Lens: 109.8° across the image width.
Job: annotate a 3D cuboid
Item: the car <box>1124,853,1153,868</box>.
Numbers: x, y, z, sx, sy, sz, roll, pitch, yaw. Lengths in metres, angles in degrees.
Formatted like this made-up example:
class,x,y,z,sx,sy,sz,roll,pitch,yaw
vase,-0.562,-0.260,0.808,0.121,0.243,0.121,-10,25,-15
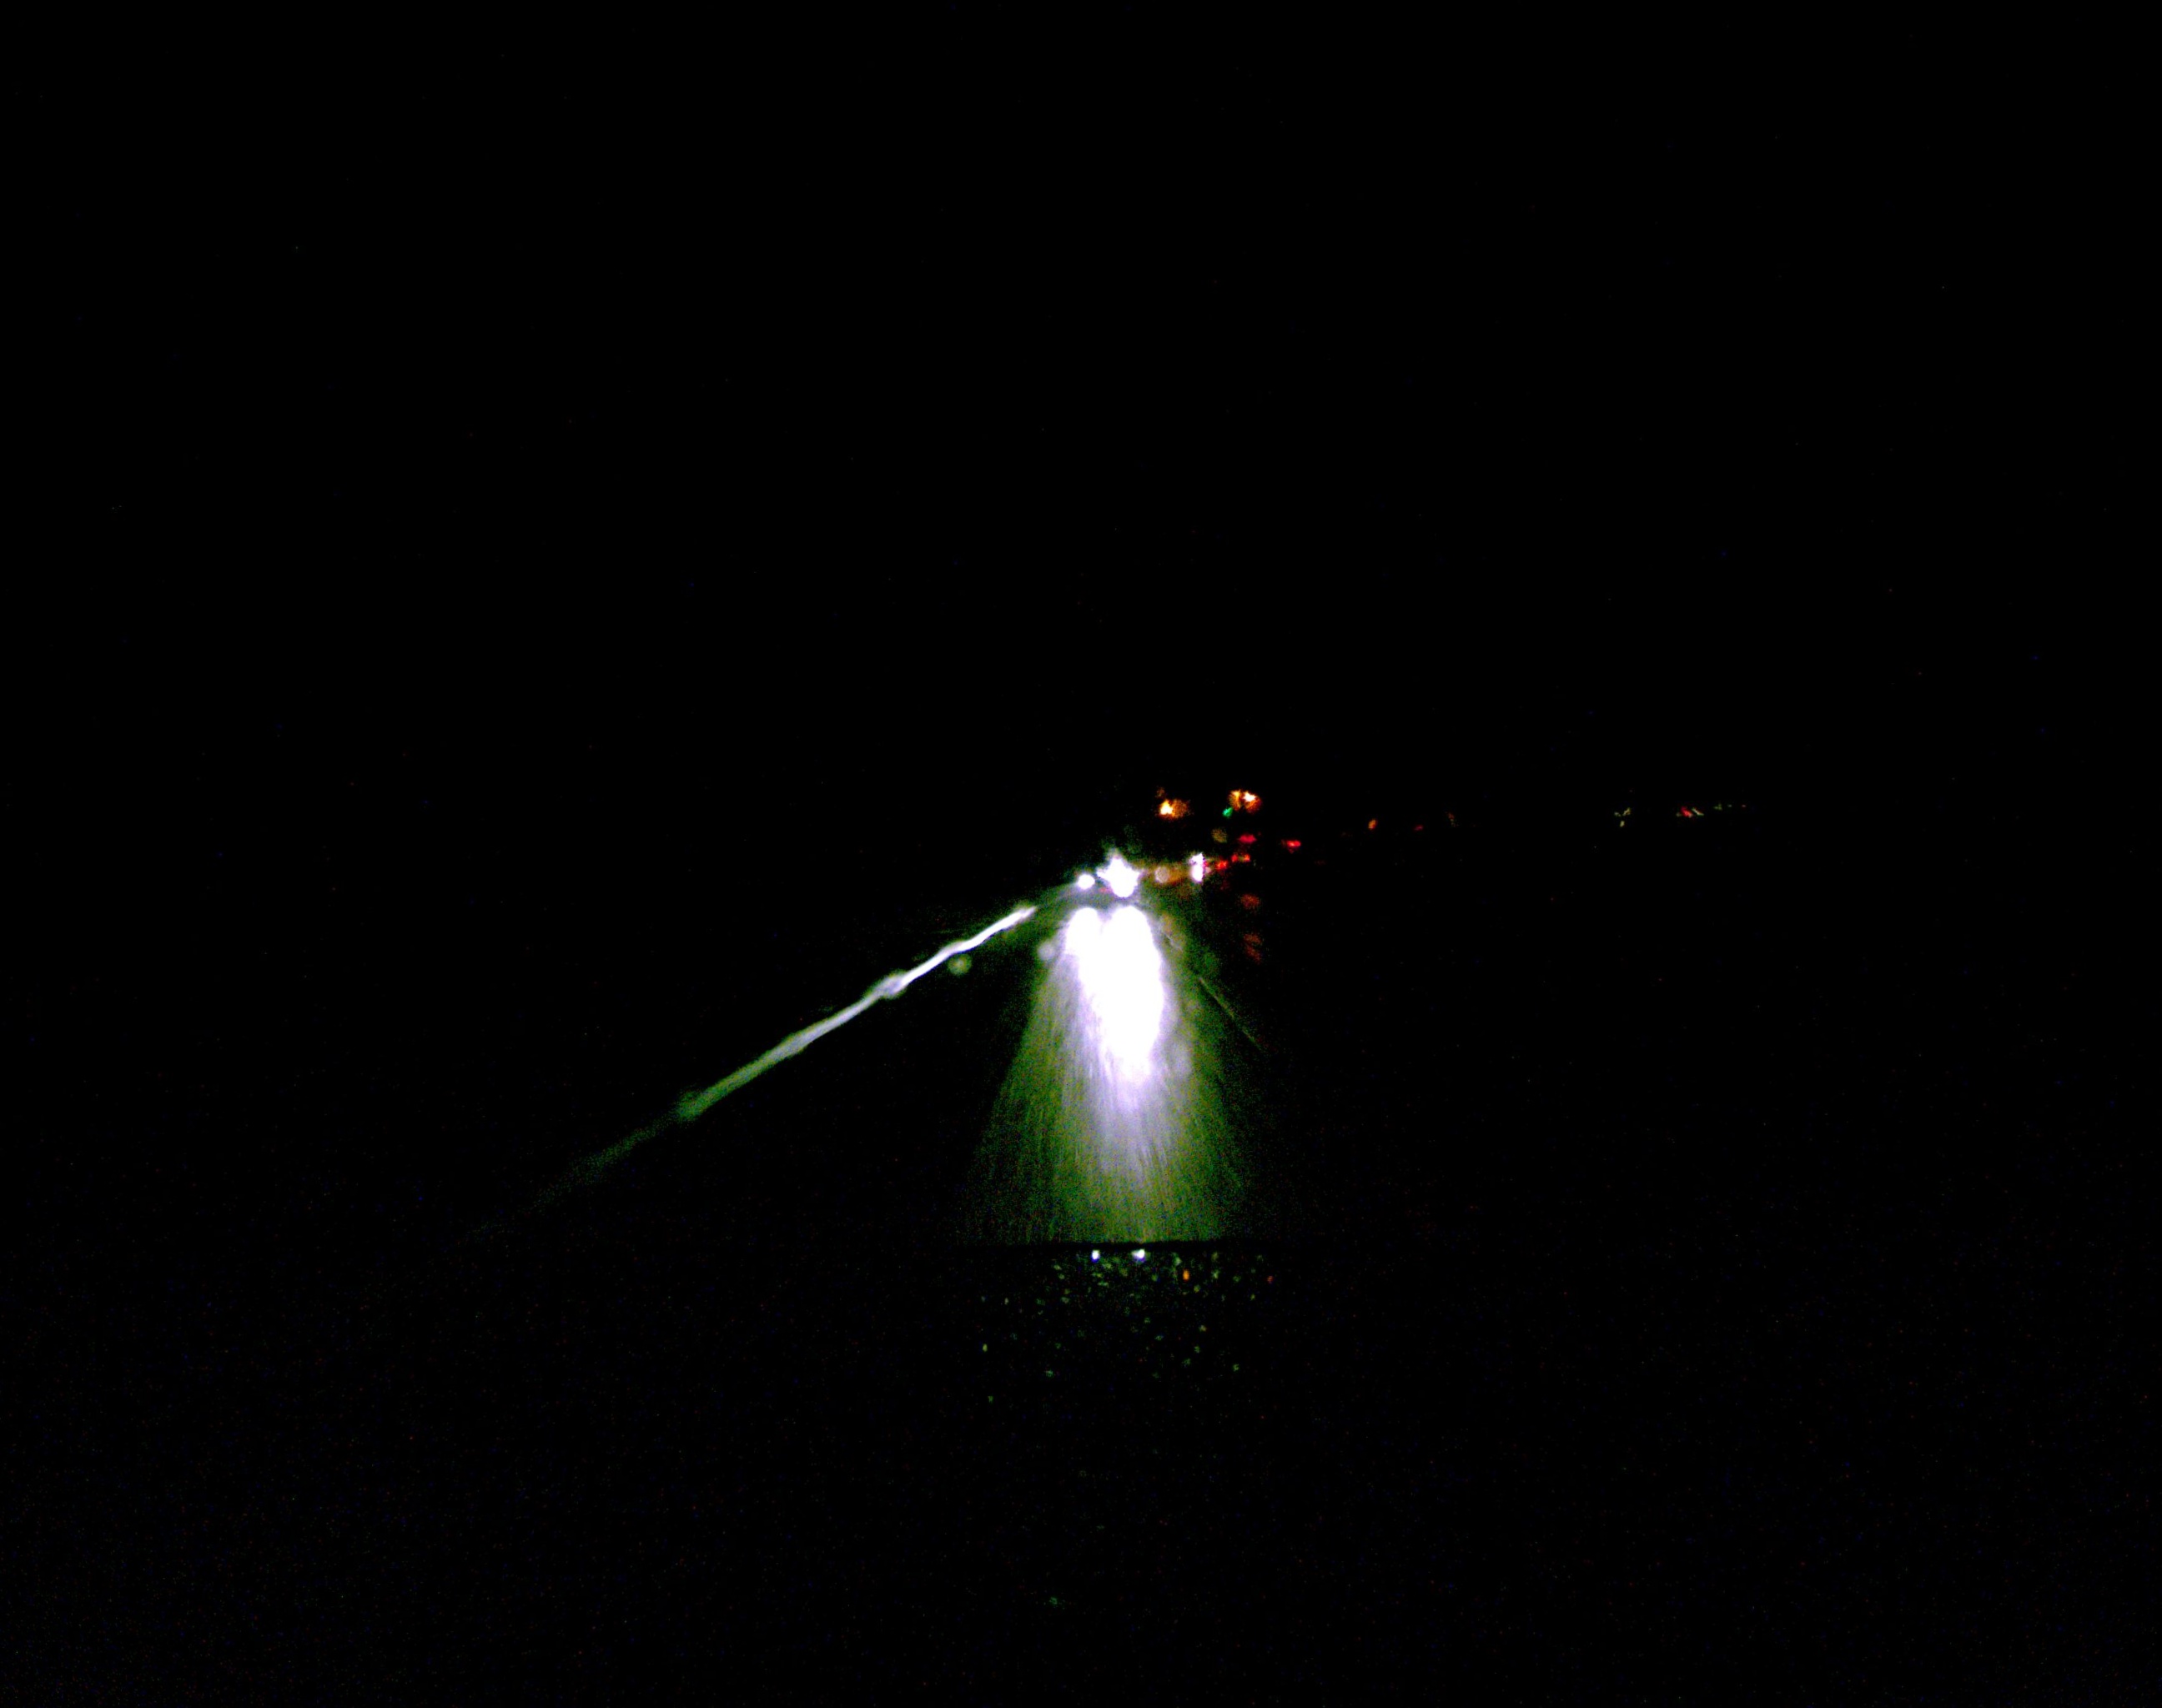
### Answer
class,x,y,z,sx,sy,sz,roll,pitch,yaw
car,6.127,0.669,80.806,1.675,1.557,3.808,-1,0,26

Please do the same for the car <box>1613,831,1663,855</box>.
class,x,y,z,sx,sy,sz,roll,pitch,yaw
car,53.188,-1.049,72.632,1.998,2.044,3.999,-4,3,3

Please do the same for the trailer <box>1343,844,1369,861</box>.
class,x,y,z,sx,sy,sz,roll,pitch,yaw
trailer,26.898,-0.174,74.360,1.815,1.668,4.104,1,1,11

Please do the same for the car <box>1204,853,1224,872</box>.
class,x,y,z,sx,sy,sz,roll,pitch,yaw
car,11.476,0.734,65.784,1.638,1.501,4.098,0,1,9

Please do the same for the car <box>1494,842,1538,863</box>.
class,x,y,z,sx,sy,sz,roll,pitch,yaw
car,42.093,-0.151,73.702,1.941,1.688,4.627,-4,3,6

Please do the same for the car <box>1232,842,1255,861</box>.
class,x,y,z,sx,sy,sz,roll,pitch,yaw
car,18.945,-0.301,88.527,1.996,2.002,4.851,-4,1,19

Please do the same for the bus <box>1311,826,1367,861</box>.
class,x,y,z,sx,sy,sz,roll,pitch,yaw
bus,31.170,-1.410,92.534,2.899,3.847,13.057,-2,2,3

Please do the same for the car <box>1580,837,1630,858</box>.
class,x,y,z,sx,sy,sz,roll,pitch,yaw
car,50.114,-0.674,72.744,1.941,1.688,4.627,-4,3,6

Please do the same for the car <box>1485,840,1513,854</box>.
class,x,y,z,sx,sy,sz,roll,pitch,yaw
car,52.190,-0.848,94.793,4.046,1.391,1.855,-6,7,-42

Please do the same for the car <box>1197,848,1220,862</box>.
class,x,y,z,sx,sy,sz,roll,pitch,yaw
car,14.508,0.111,86.360,1.927,1.501,4.101,0,1,18

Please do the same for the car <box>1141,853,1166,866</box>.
class,x,y,z,sx,sy,sz,roll,pitch,yaw
car,8.160,0.596,85.322,1.636,1.390,3.681,-1,1,26

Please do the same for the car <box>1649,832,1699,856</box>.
class,x,y,z,sx,sy,sz,roll,pitch,yaw
car,55.578,-0.951,71.297,1.763,2.044,3.999,-4,3,3

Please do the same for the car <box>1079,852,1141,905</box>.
class,x,y,z,sx,sy,sz,roll,pitch,yaw
car,1.115,0.826,27.485,1.958,1.711,4.001,-1,0,6

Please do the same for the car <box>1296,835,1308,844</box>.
class,x,y,z,sx,sy,sz,roll,pitch,yaw
car,39.416,-2.636,135.577,1.636,1.502,4.123,1,1,23
